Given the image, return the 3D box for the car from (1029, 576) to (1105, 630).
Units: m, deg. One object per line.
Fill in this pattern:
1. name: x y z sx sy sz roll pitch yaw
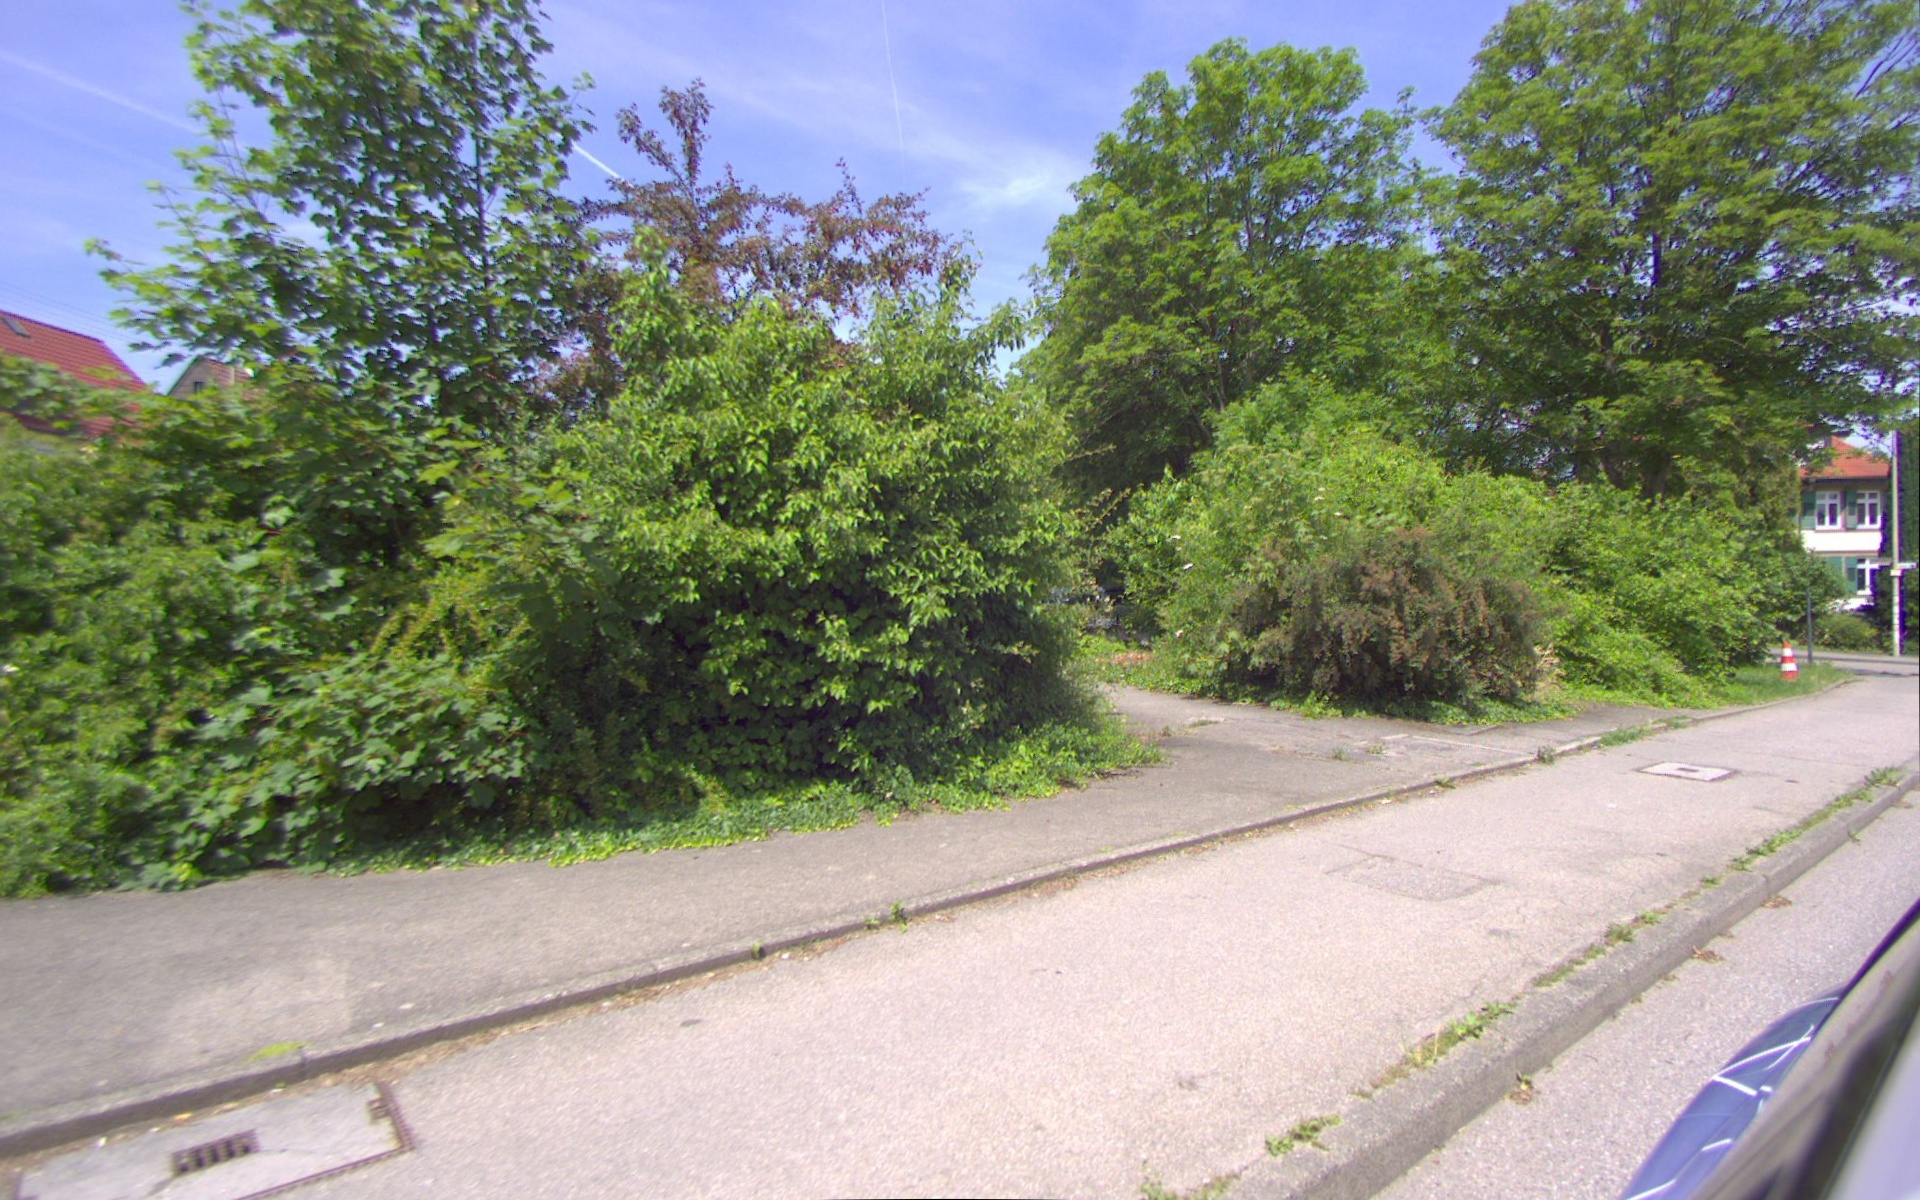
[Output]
1. car: 3.407 0.064 32.874 1.962 1.643 4.001 0 0 -1

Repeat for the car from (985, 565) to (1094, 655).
1. car: 1.597 0.171 21.697 1.962 1.740 4.001 0 0 -1
